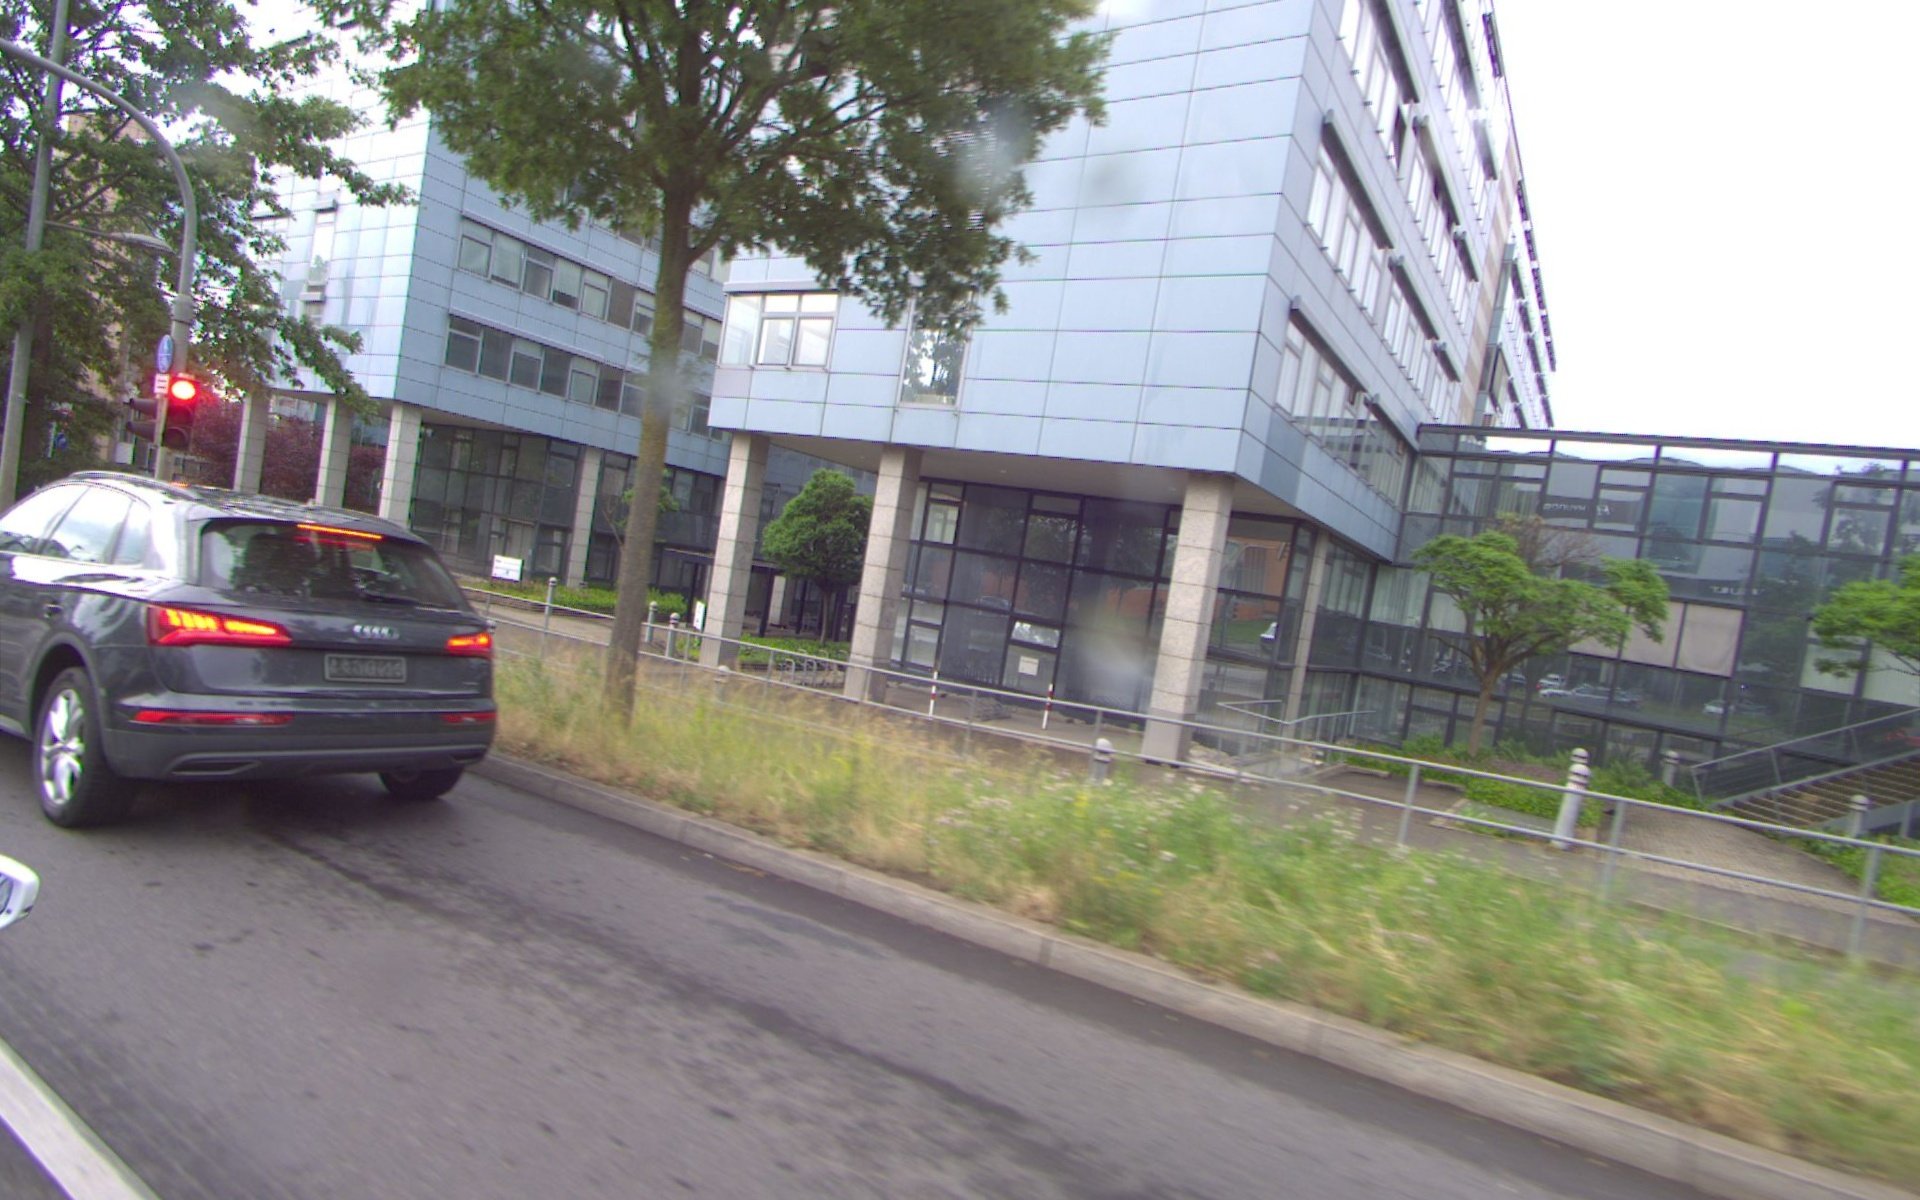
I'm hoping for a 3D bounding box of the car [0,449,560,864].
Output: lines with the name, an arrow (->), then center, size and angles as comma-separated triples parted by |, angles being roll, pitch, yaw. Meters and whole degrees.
car -> -4.658, 0.100, 6.006 | 4.396, 1.632, 1.821 | 7, 0, 32
